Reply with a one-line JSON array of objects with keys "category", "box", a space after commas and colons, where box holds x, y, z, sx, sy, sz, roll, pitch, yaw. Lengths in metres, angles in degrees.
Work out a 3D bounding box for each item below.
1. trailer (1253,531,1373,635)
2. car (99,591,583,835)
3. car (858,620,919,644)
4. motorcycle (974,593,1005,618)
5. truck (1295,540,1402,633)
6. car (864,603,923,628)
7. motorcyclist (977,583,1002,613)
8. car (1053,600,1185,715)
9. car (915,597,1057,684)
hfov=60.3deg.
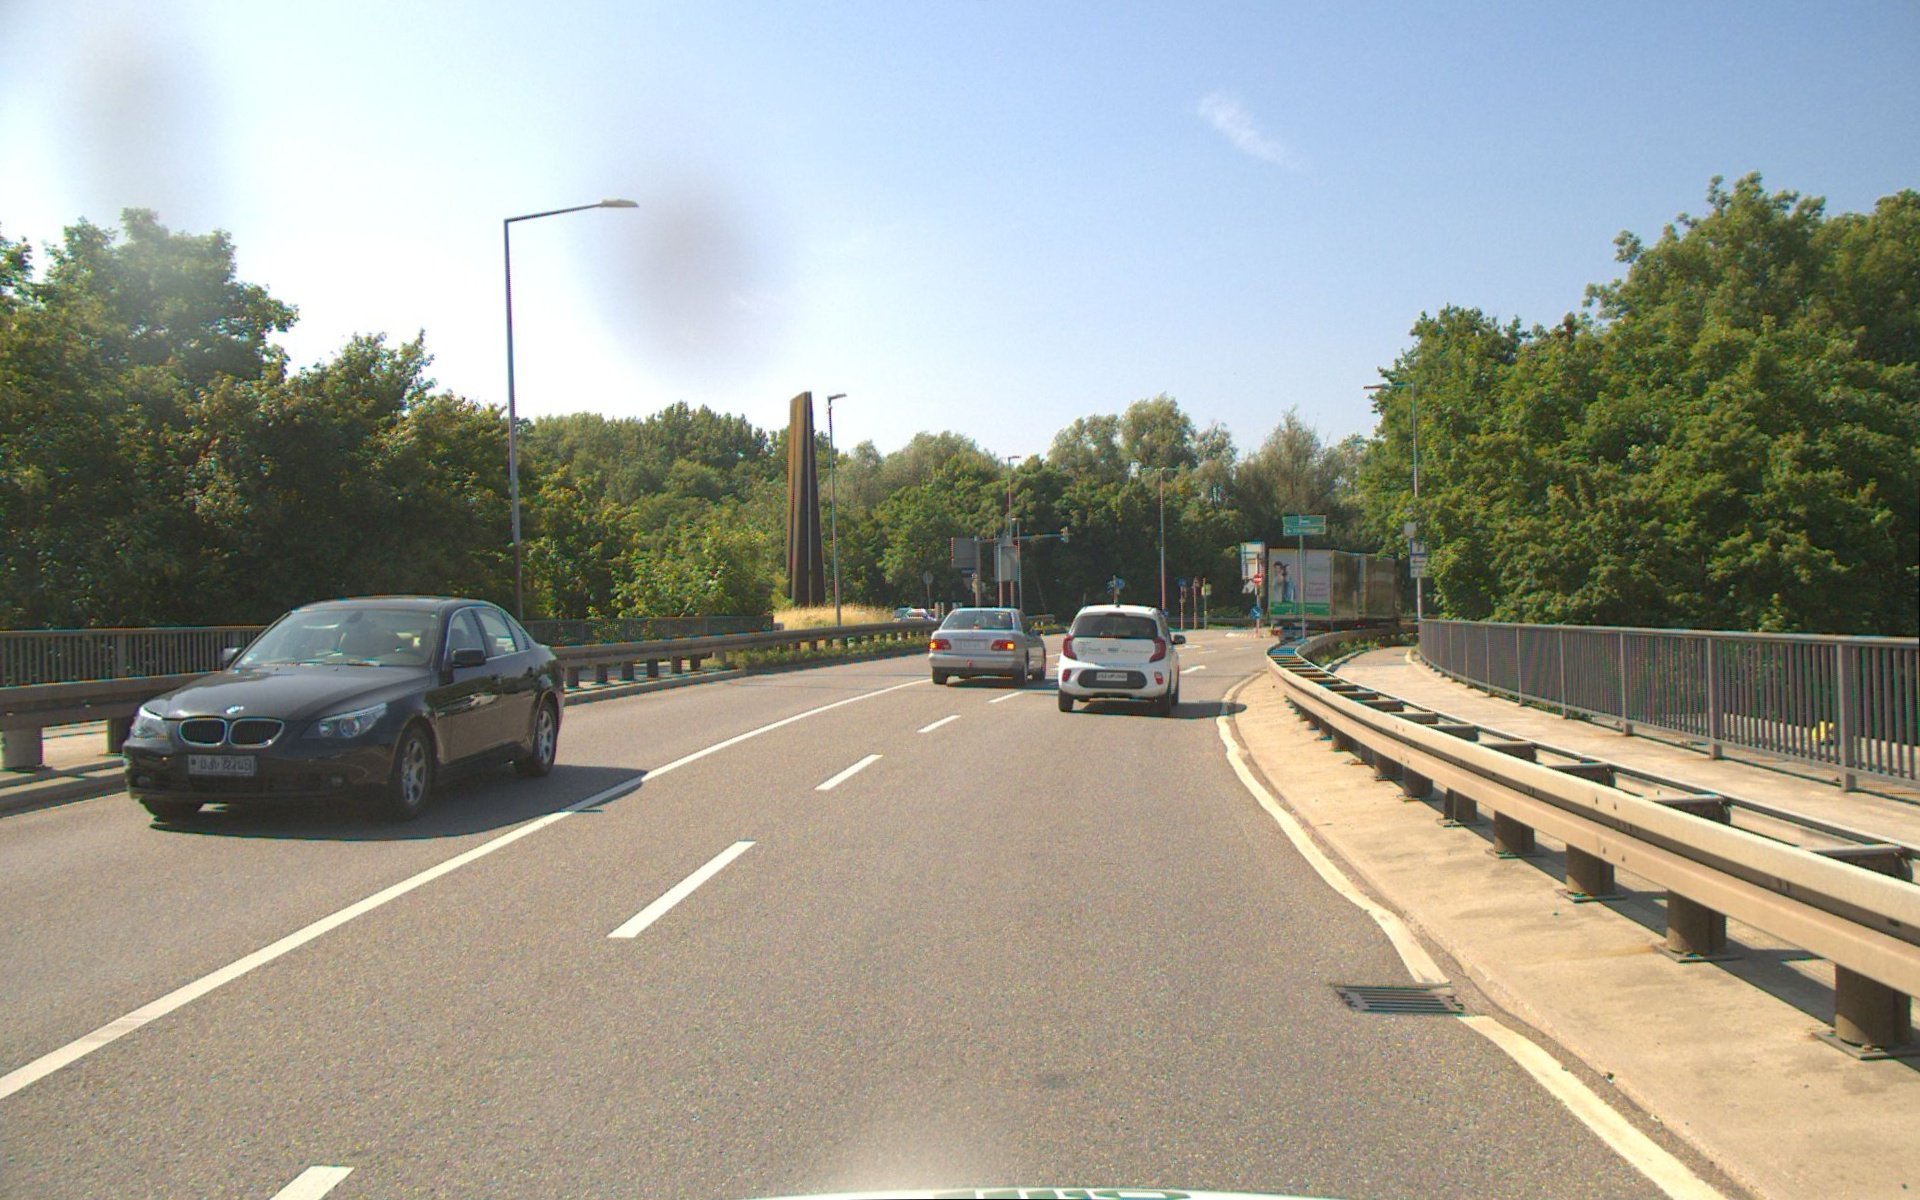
[{"category": "trailer", "box": [14.327, -0.631, 66.636, 3.159, 3.823, 7.822, 2, 0, 23]}, {"category": "car", "box": [-4.338, 0.683, 12.471, 1.817, 1.467, 4.517, 1, 1, 2]}, {"category": "car", "box": [-4.885, 2.193, 112.464, 2.108, 1.413, 3.933, 3, -5, -45]}, {"category": "motorcycle", "box": [1.909, 0.342, 107.044, 1.948, 1.556, 0.893, -3, -3, 43]}, {"category": "truck", "box": [17.495, -0.573, 74.035, 3.195, 3.823, 8.367, 2, 0, 23]}, {"category": "car", "box": [-4.492, 1.032, 110.988, 1.754, 1.413, 3.933, 3, -6, -45]}, {"category": "motorcyclist", "box": [1.907, -0.109, 107.070, 1.438, 1.903, 0.887, -1, -2, 43]}, {"category": "car", "box": [2.432, 0.794, 24.559, 1.665, 1.520, 4.003, 1, 0, 9]}, {"category": "car", "box": [0.594, 0.715, 31.520, 1.897, 1.512, 4.904, 1, 0, 11]}]
